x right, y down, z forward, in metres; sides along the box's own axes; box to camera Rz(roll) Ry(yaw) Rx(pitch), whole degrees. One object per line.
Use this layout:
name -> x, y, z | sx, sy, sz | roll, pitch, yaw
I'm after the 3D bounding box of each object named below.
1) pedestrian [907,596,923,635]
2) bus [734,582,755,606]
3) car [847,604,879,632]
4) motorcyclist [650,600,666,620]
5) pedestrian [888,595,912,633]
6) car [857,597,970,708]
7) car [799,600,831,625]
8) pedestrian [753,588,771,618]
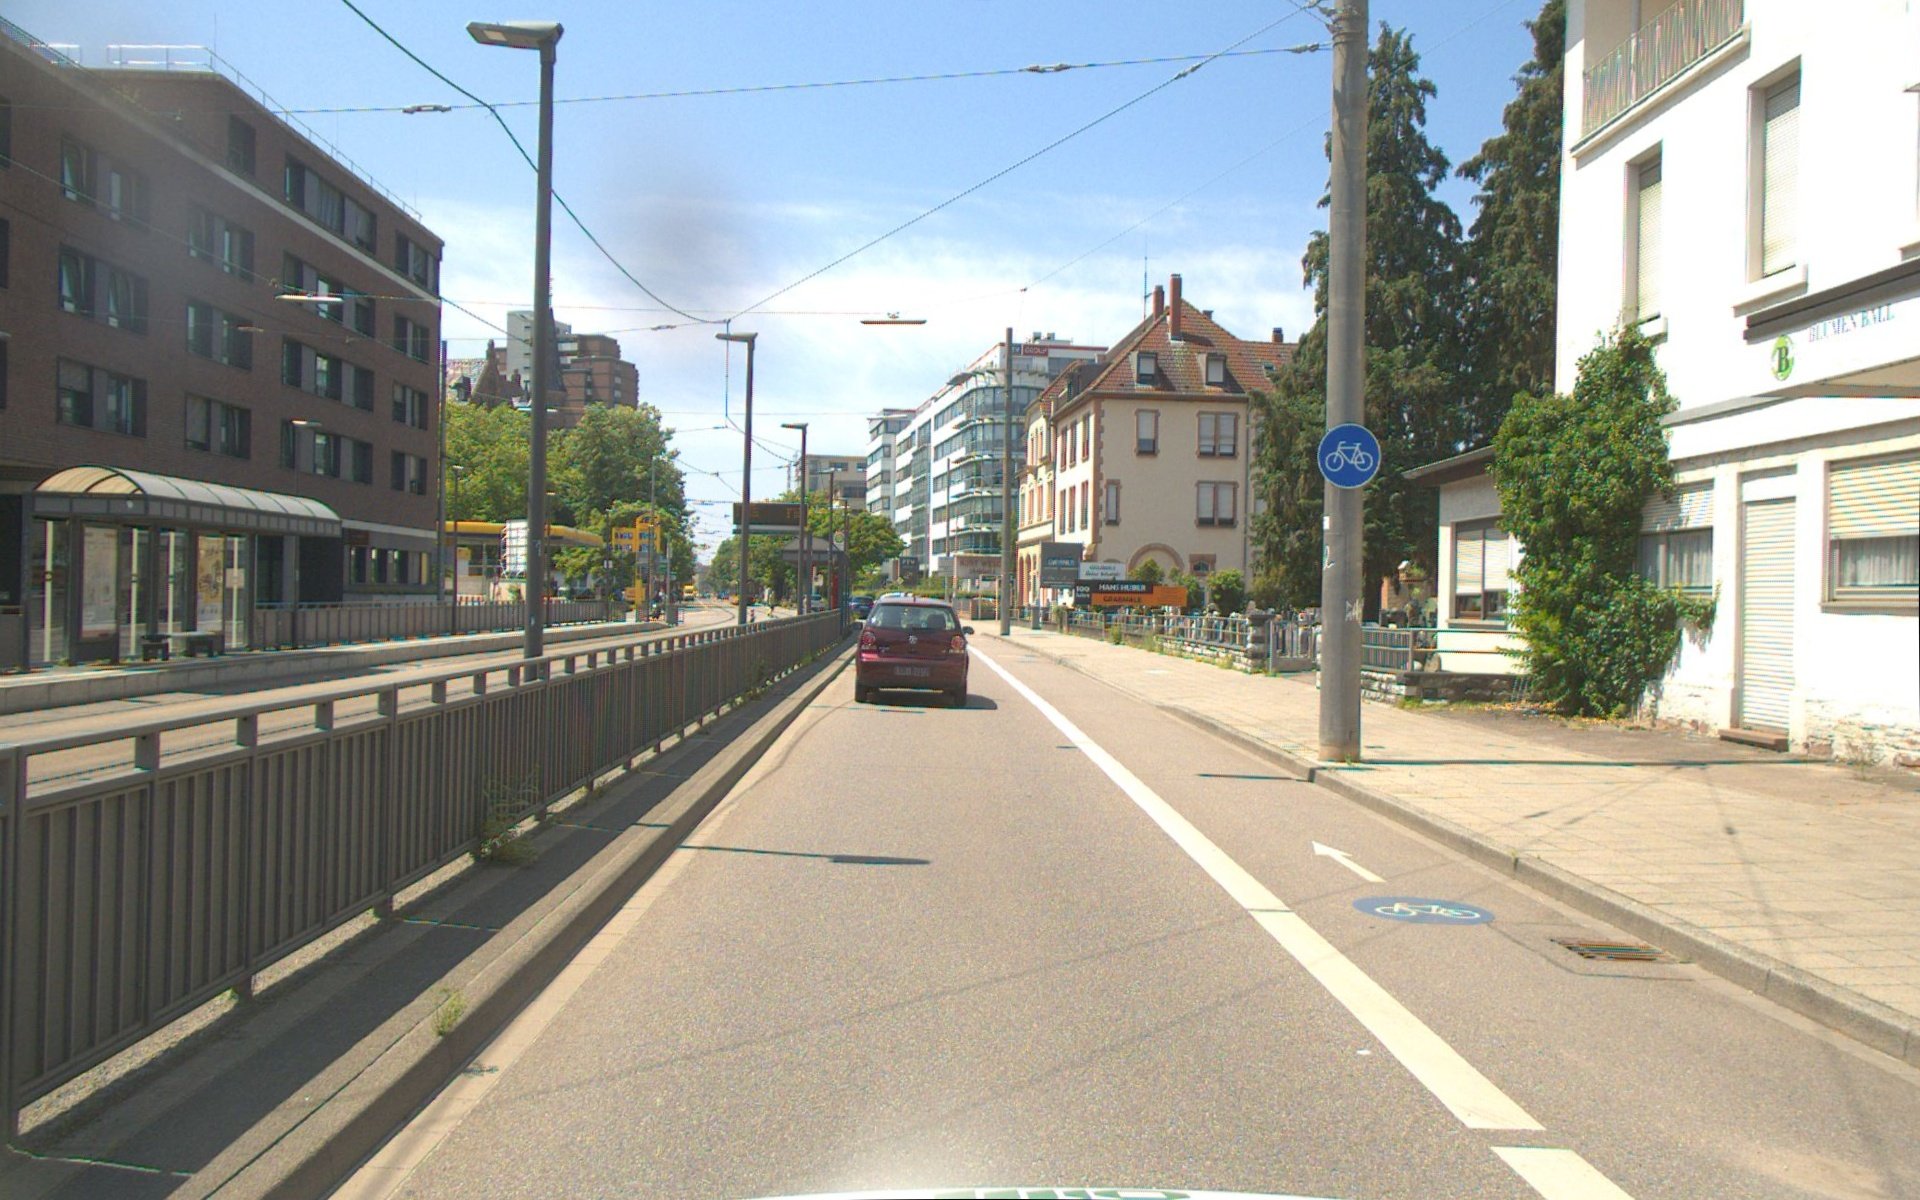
pedestrian -> -2.195, 0.758, 80.025 | 0.730, 1.868, 0.791 | 0, 1, -4
bus -> -28.020, -0.745, 214.633 | 2.108, 3.055, 6.552 | 0, 0, -13
car -> -5.994, 1.085, 102.274 | 1.954, 1.653, 4.629 | 0, 0, -3
motorcyclist -> -18.151, 0.600, 99.478 | 0.832, 1.159, 0.634 | 0, 1, -2
pedestrian -> -2.952, 0.679, 81.776 | 1.146, 1.868, 0.791 | 0, 1, -4
car -> -0.686, 0.709, 23.992 | 1.530, 1.479, 3.060 | 0, 0, -2
car -> -11.534, 0.959, 131.280 | 1.960, 1.881, 3.985 | 0, 1, -15
pedestrian -> -13.626, 0.177, 113.979 | 1.087, 2.049, 1.038 | 1, 0, -1
